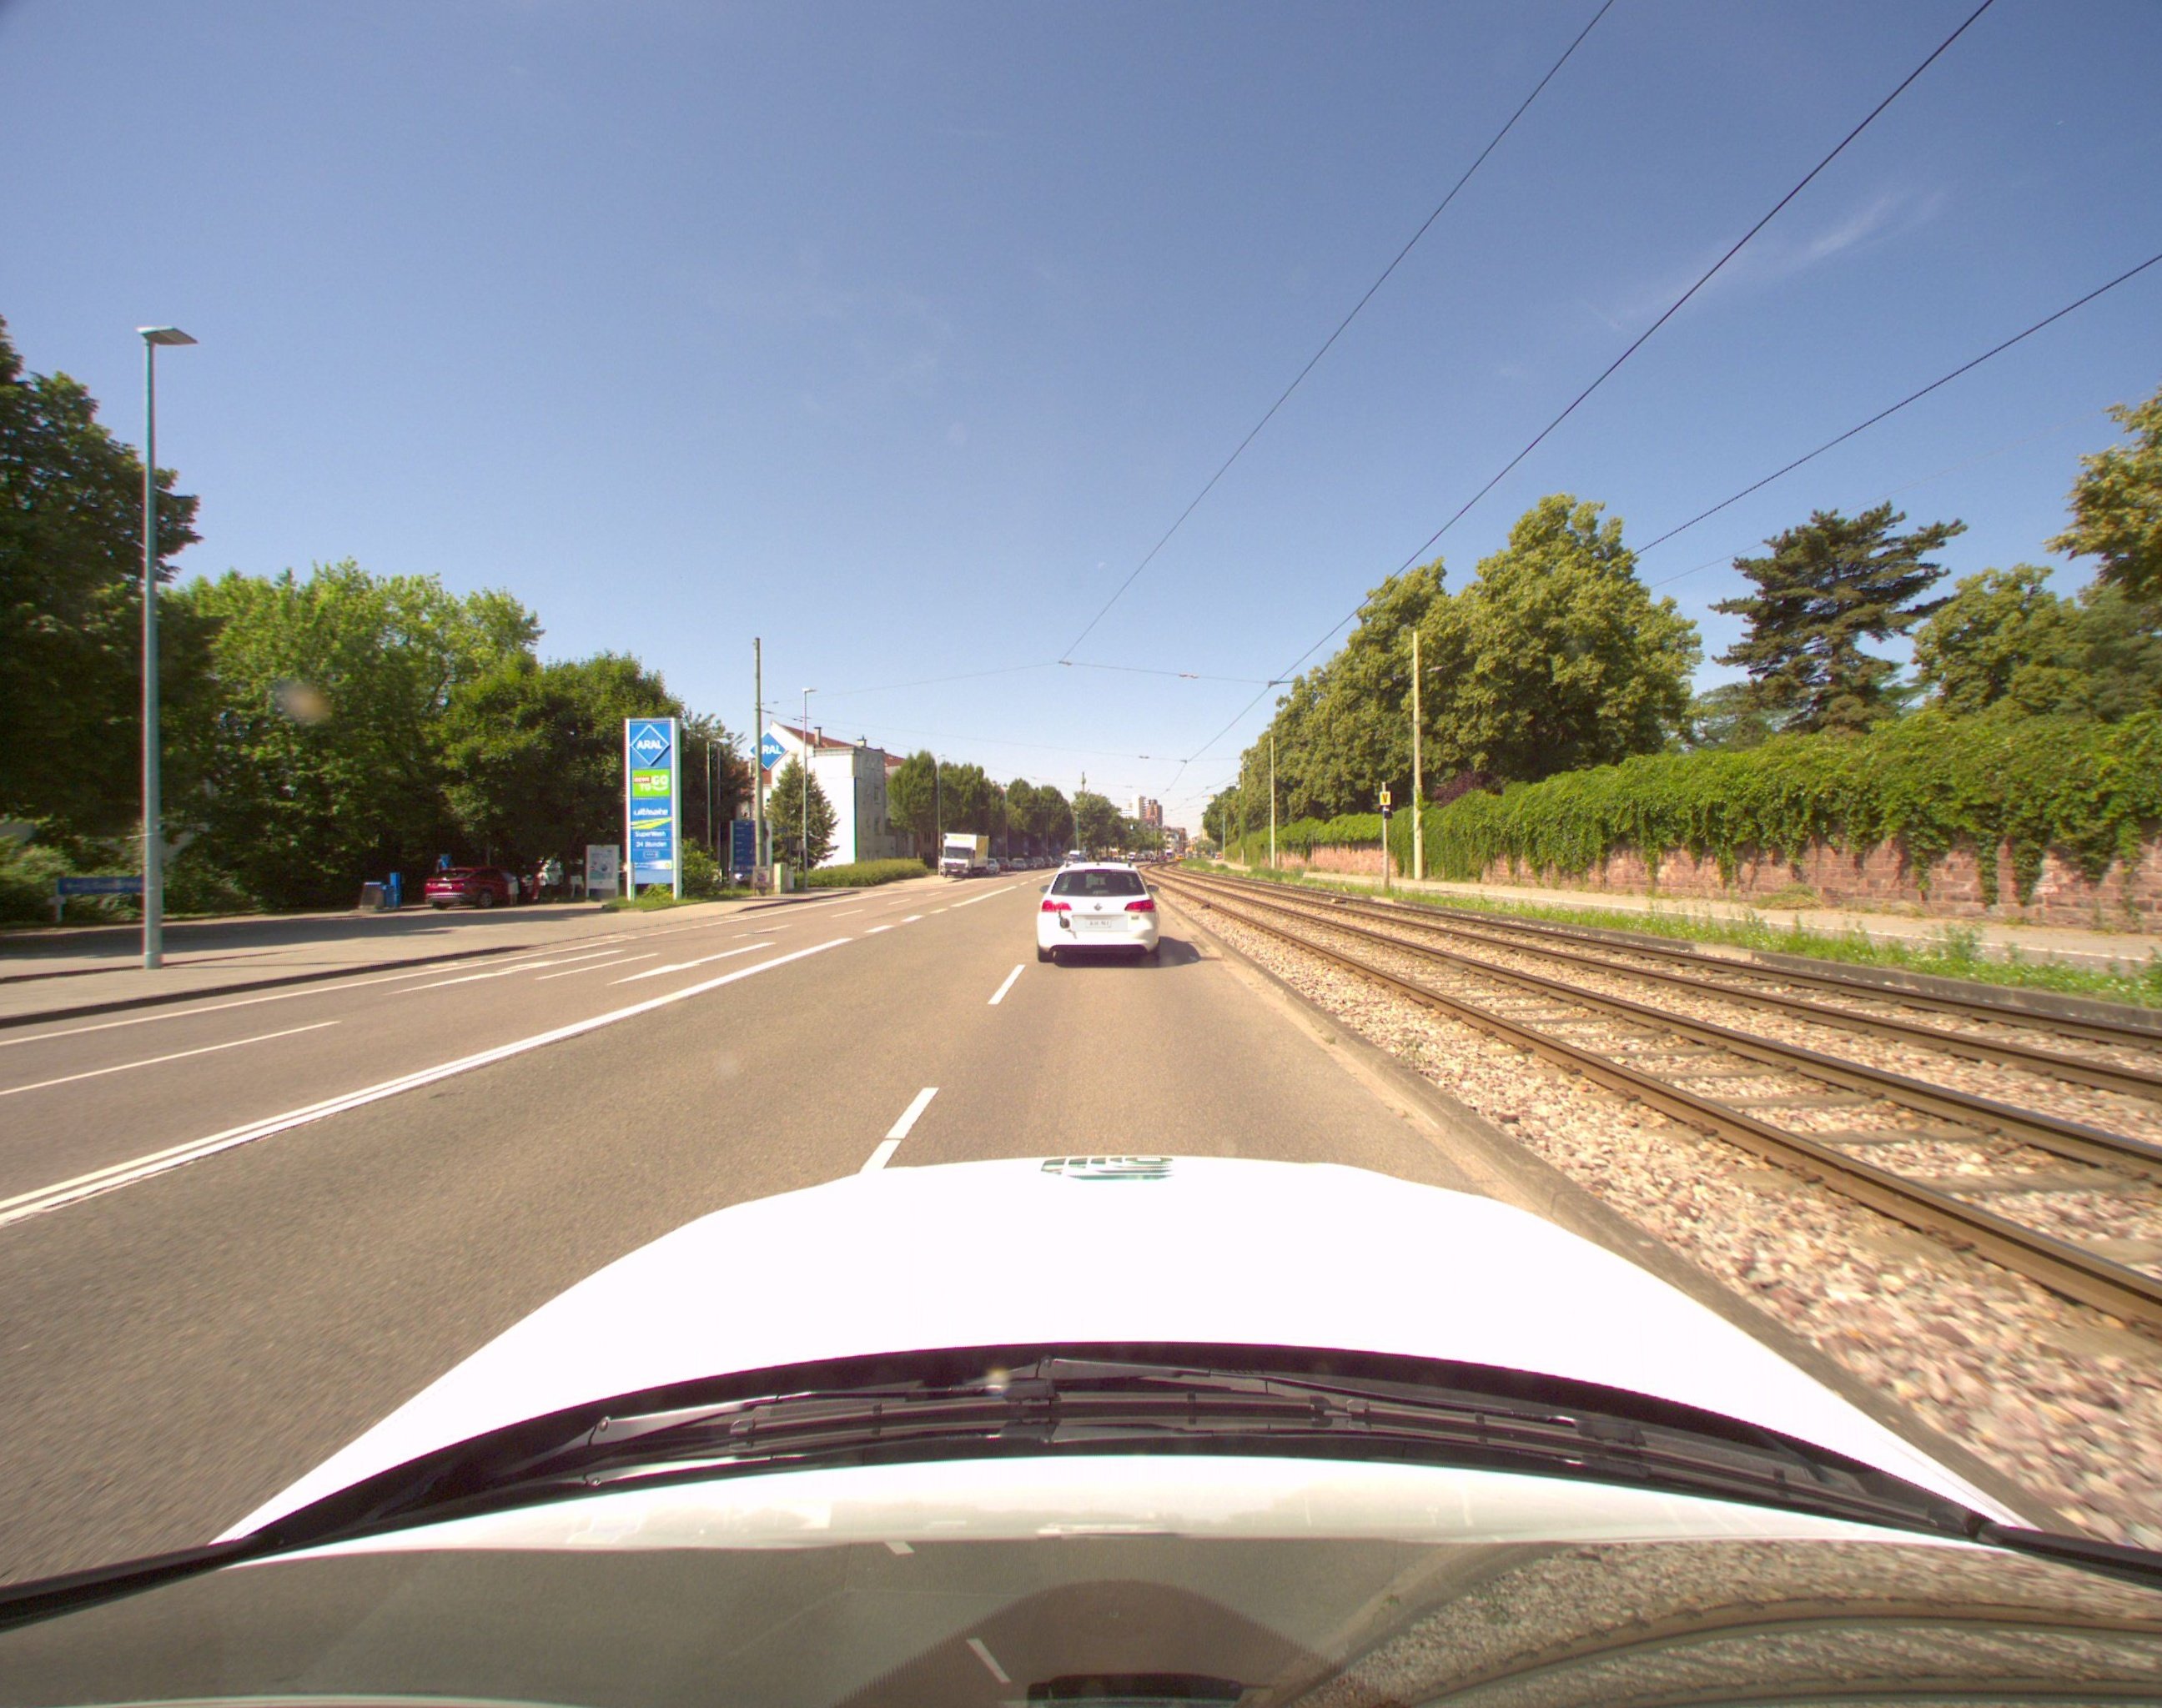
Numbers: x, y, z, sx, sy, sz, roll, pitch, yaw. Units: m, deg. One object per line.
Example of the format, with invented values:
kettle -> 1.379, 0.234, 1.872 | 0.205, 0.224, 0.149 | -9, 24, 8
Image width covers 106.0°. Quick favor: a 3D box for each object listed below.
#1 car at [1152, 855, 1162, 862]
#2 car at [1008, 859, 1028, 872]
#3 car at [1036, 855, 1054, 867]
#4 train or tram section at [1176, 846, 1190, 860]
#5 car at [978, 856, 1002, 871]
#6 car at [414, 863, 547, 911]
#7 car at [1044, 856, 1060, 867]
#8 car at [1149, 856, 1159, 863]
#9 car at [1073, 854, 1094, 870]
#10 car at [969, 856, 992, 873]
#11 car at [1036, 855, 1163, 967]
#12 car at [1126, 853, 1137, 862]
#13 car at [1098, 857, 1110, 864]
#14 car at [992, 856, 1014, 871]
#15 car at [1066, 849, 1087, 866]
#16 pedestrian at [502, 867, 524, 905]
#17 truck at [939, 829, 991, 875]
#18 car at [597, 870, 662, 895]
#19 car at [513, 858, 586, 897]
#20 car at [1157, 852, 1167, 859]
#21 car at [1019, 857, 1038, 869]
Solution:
car -> 16.252, 0.928, 173.013 | 1.789, 1.460, 4.011 | 0, 0, 10
car -> -7.527, 1.363, 98.159 | 1.773, 1.483, 4.861 | 0, -1, 3
car -> -5.102, 1.004, 116.075 | 1.761, 1.723, 4.877 | 1, 0, 6
train or tram section -> 28.420, -0.350, 226.073 | 2.494, 3.747, 13.356 | -1, 0, 12
car -> -8.860, 0.903, 79.671 | 1.750, 1.429, 4.284 | 0, 0, 2
car -> -23.715, 1.262, 32.422 | 1.793, 1.570, 4.520 | -1, 1, 2
car -> -4.328, 1.098, 121.516 | 1.681, 1.474, 4.057 | 2, 0, 8
car -> 14.993, 1.141, 166.561 | 1.789, 1.507, 4.011 | 0, 0, 10
car -> 0.273, 0.816, 85.729 | 1.791, 1.507, 4.008 | 0, 1, 7
car -> -9.146, 0.922, 74.468 | 1.604, 1.484, 3.636 | 1, 0, 0
car -> 0.276, 0.762, 13.059 | 1.685, 1.451, 4.459 | 0, 1, 1
car -> 13.477, 0.954, 216.838 | 1.866, 2.415, 5.135 | -1, 0, 14
car -> 4.873, 1.392, 170.337 | 1.687, 1.417, 4.015 | -1, 0, 14
car -> -8.321, 1.030, 87.360 | 1.723, 1.552, 4.322 | 0, 0, 3
car -> -0.746, 0.629, 140.458 | 1.981, 2.714, 7.179 | 2, 0, 11
pedestrian -> -22.933, 1.288, 32.897 | 0.496, 1.481, 0.500 | -1, 0, 2
truck -> -9.421, -0.156, 67.102 | 2.656, 3.530, 8.595 | 1, 0, 2
car -> -29.771, 1.885, 53.740 | 3.572, 1.484, 1.667 | -1, 0, 14
car -> -35.892, 1.578, 55.017 | 4.142, 2.538, 1.795 | -1, 0, 15
car -> 17.953, 0.309, 180.188 | 1.789, 1.460, 4.011 | -1, 0, 10
car -> -6.663, 1.197, 104.628 | 1.714, 1.474, 4.721 | 1, 0, 5
